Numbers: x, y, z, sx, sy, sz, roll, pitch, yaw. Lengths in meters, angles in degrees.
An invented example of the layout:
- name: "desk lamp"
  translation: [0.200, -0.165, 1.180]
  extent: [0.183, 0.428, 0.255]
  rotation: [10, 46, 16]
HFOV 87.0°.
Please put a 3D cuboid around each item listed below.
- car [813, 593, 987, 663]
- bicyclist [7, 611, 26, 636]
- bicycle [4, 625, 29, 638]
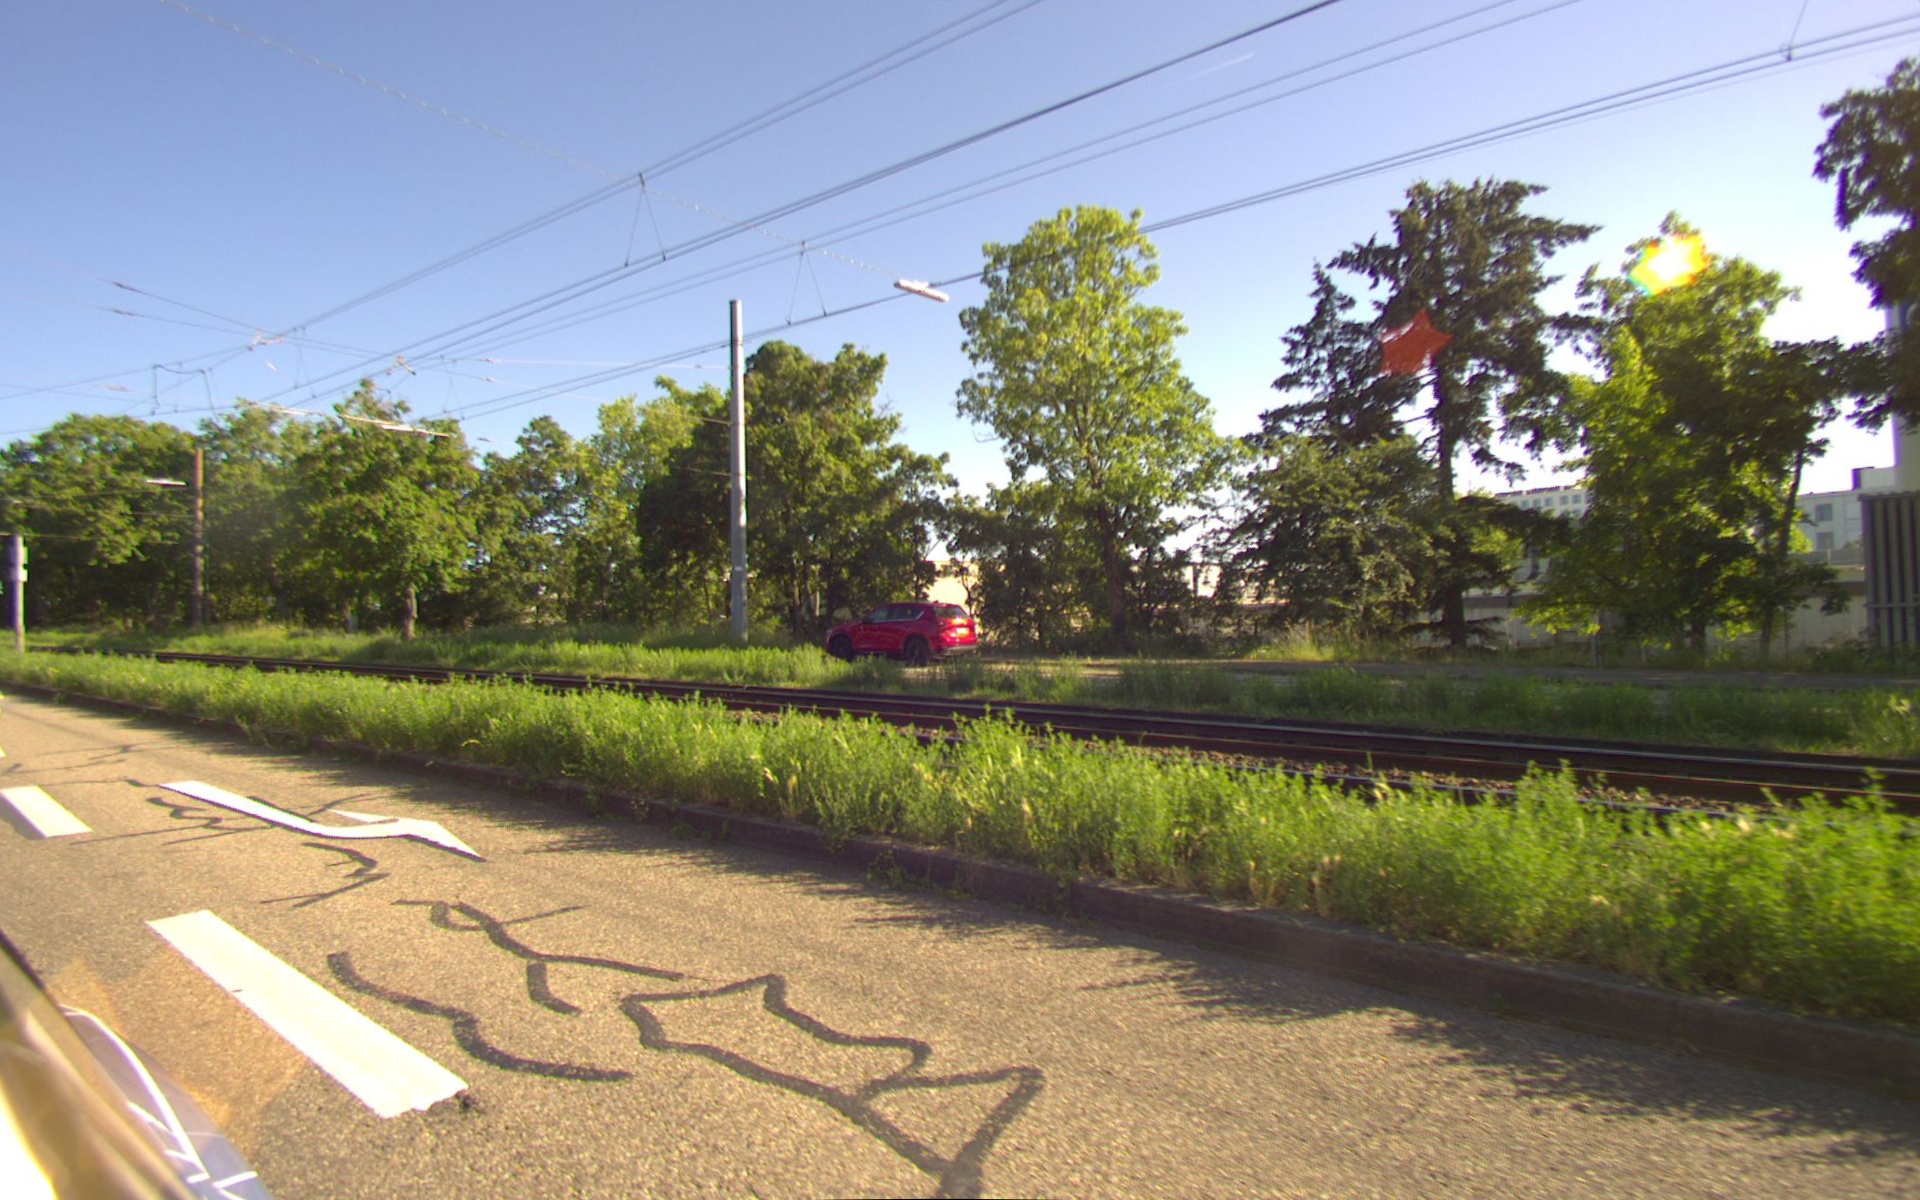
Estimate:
- name: "car"
  translation: [-1.664, 0.721, 27.055]
  extent: [4.461, 1.715, 1.985]
  rotation: [-1, 0, 39]
- name: "bicyclist"
  translation: [-67.582, 1.653, 72.467]
  extent: [0.900, 1.749, 0.812]
  rotation: [-1, 0, 35]
- name: "bicycle"
  translation: [-67.561, 2.238, 72.491]
  extent: [2.531, 0.921, 0.811]
  rotation: [-1, 0, 35]
